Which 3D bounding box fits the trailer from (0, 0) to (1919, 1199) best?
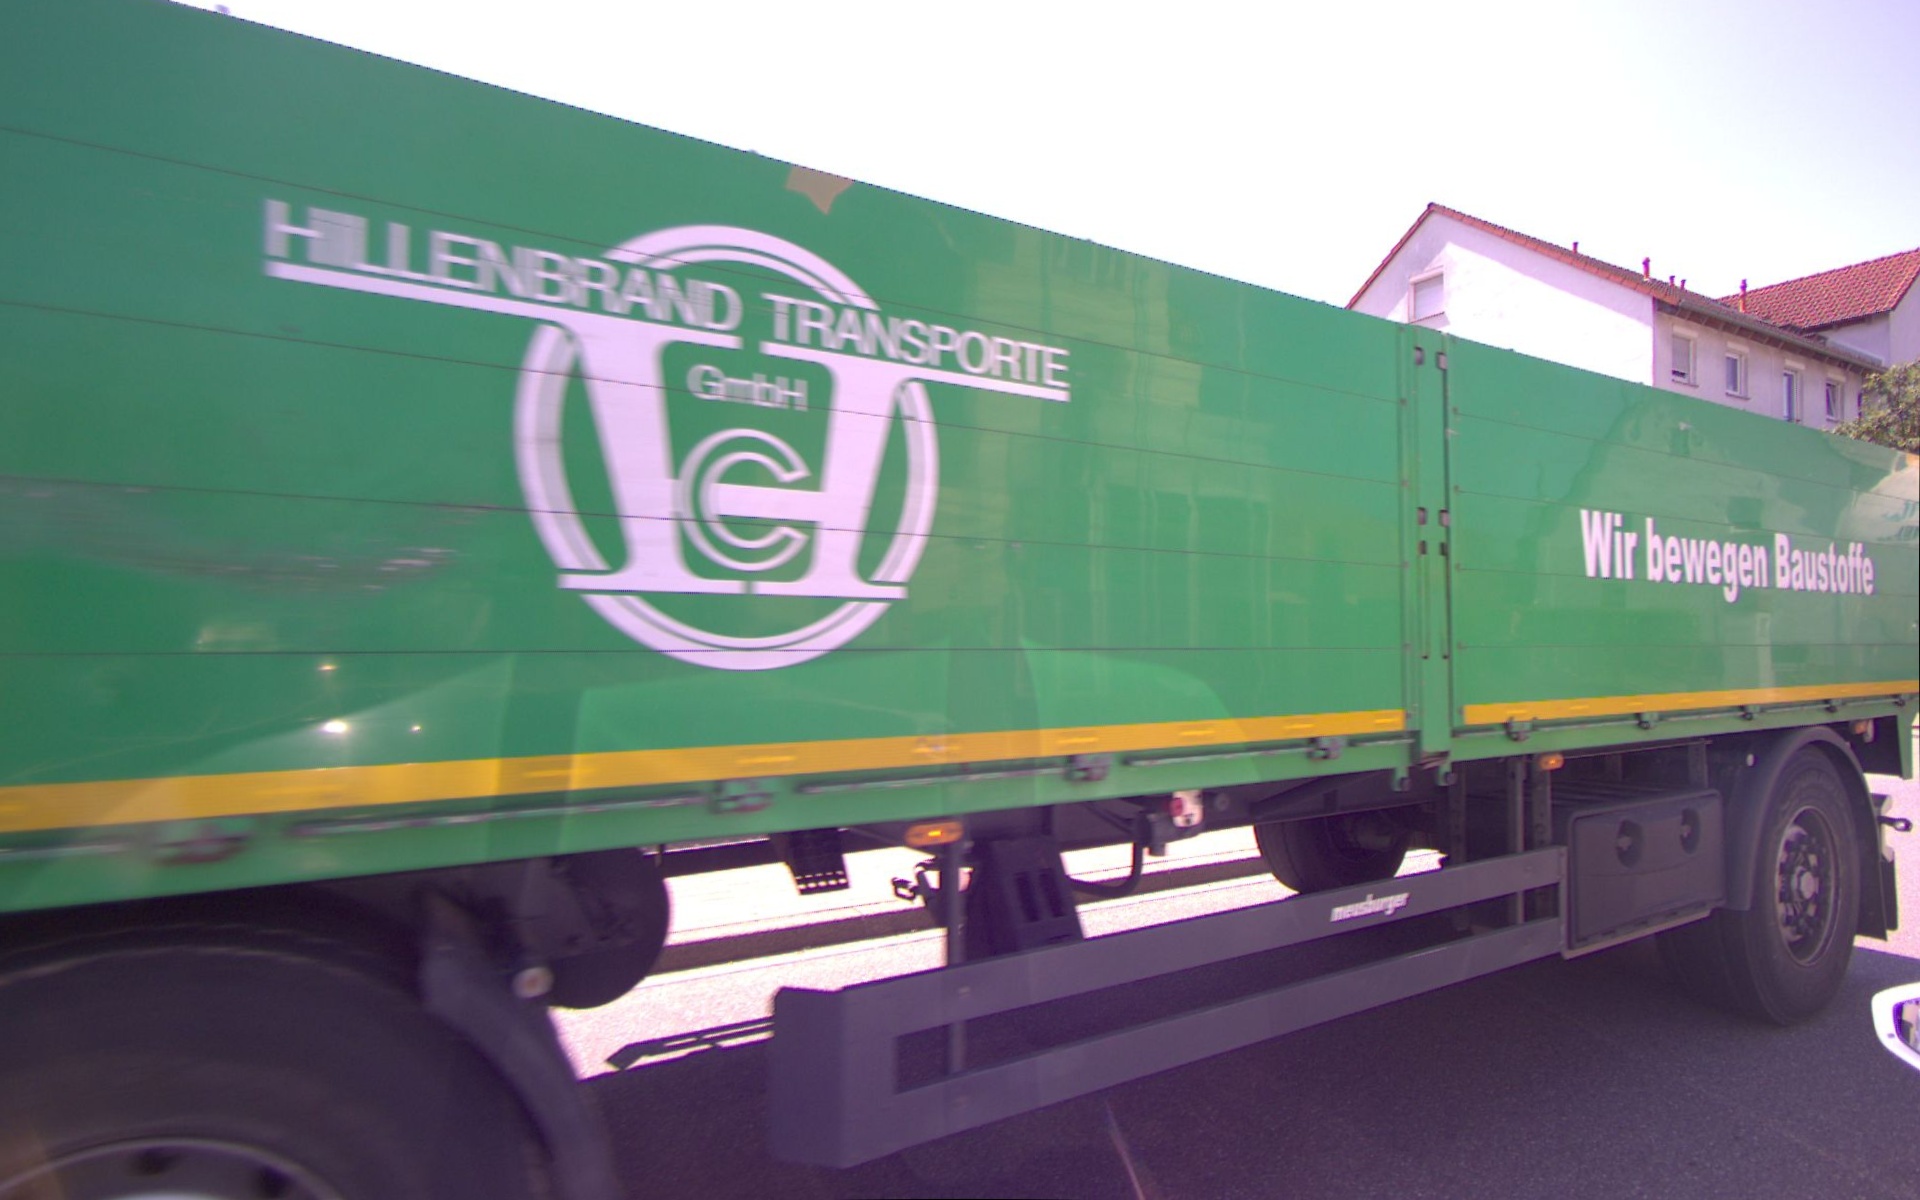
[{"bbox_3d":[0.152,-0.306,3.255,8.365,3.697,2.517,1,-2,-32],"label":"trailer"}]
